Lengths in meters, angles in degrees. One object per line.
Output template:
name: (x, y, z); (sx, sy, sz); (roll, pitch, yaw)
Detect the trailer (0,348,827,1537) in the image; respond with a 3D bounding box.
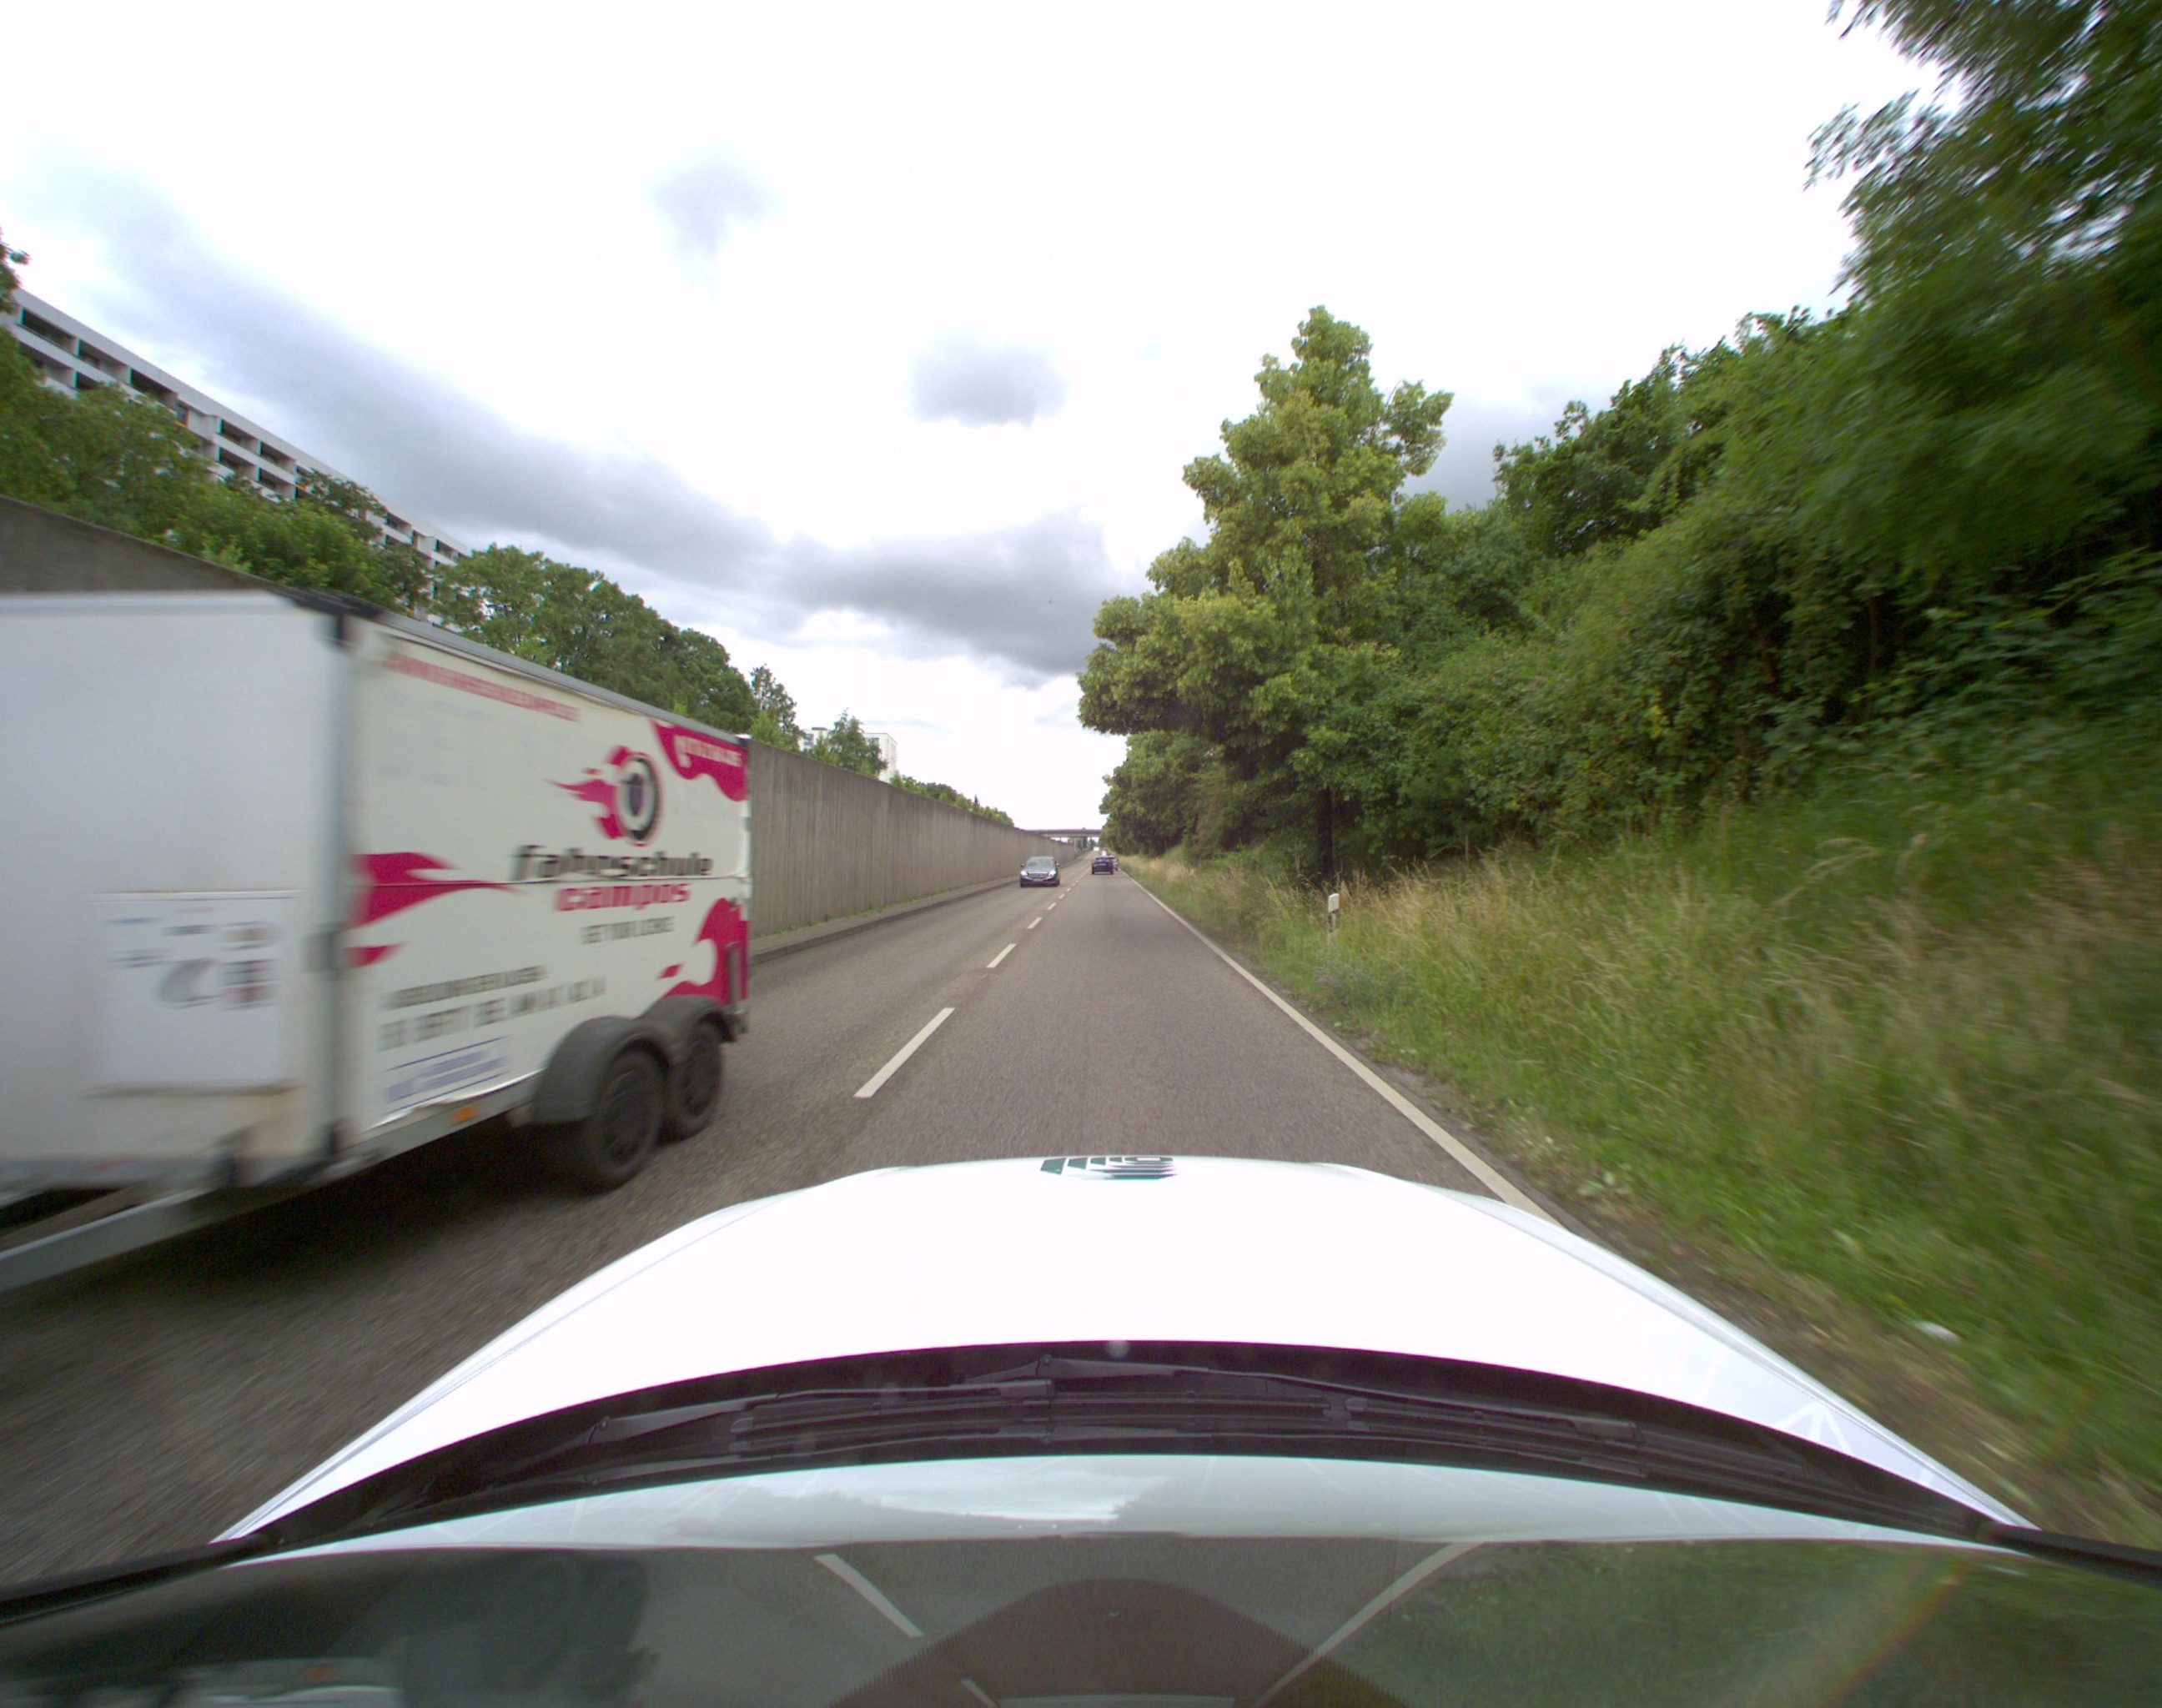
trailer: (-3.059, 0.205, 4.001); (2.102, 2.630, 4.373); (-1, 0, 2)

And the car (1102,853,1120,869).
car: (3.026, 0.689, 82.488); (1.747, 1.523, 4.039); (-1, 0, 2)

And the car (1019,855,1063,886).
car: (-1.990, 0.807, 41.718); (1.885, 1.483, 4.824); (-1, 0, 2)

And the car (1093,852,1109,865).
car: (2.486, 0.516, 101.039); (1.861, 1.490, 4.256); (3, 0, 0)

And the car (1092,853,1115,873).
car: (1.828, 0.736, 66.222); (1.748, 1.523, 4.037); (-1, -2, 2)
